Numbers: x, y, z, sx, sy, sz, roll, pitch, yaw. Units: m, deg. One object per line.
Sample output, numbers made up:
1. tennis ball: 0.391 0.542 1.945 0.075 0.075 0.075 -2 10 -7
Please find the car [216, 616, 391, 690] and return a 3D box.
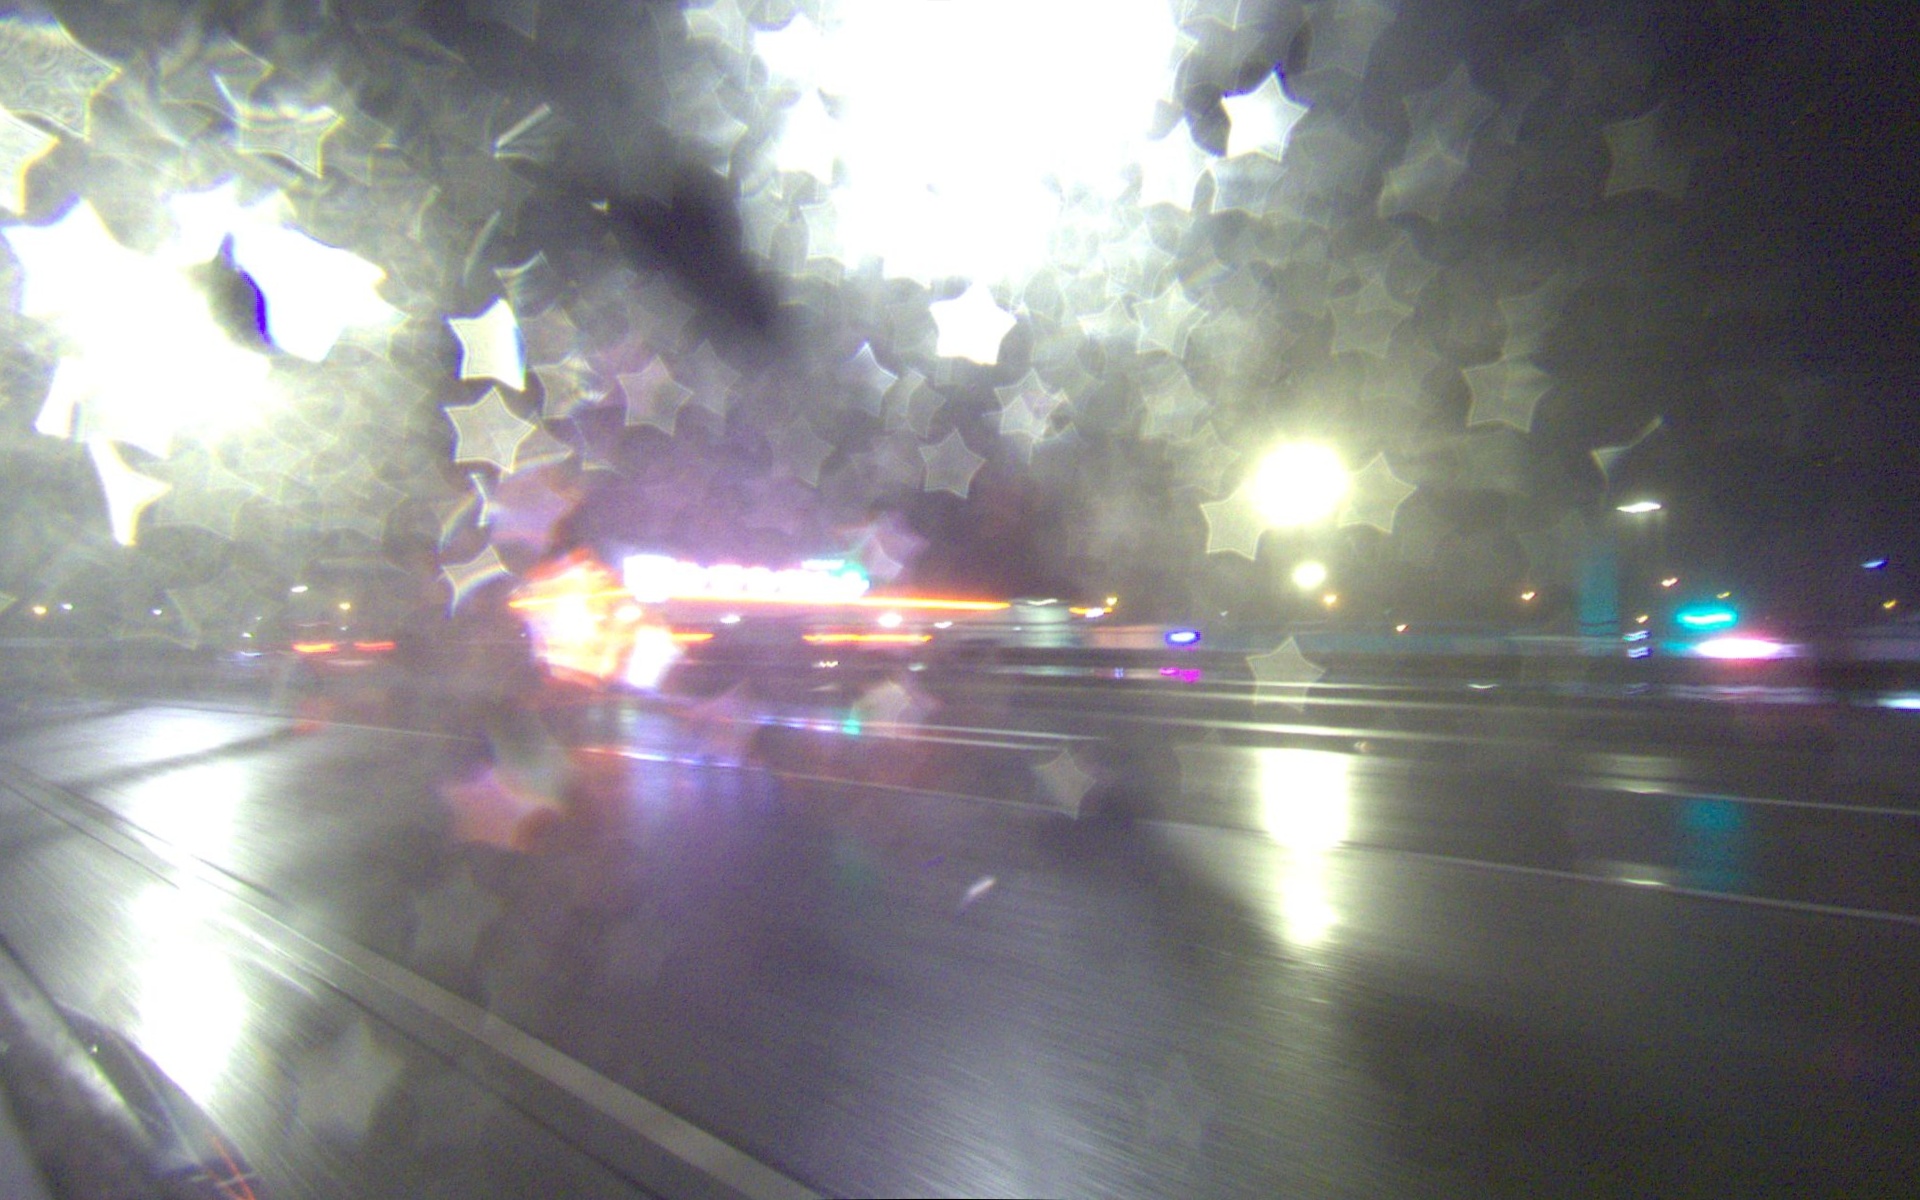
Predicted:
1. car: -14.624 1.115 22.503 3.939 1.468 1.752 -1 0 31
